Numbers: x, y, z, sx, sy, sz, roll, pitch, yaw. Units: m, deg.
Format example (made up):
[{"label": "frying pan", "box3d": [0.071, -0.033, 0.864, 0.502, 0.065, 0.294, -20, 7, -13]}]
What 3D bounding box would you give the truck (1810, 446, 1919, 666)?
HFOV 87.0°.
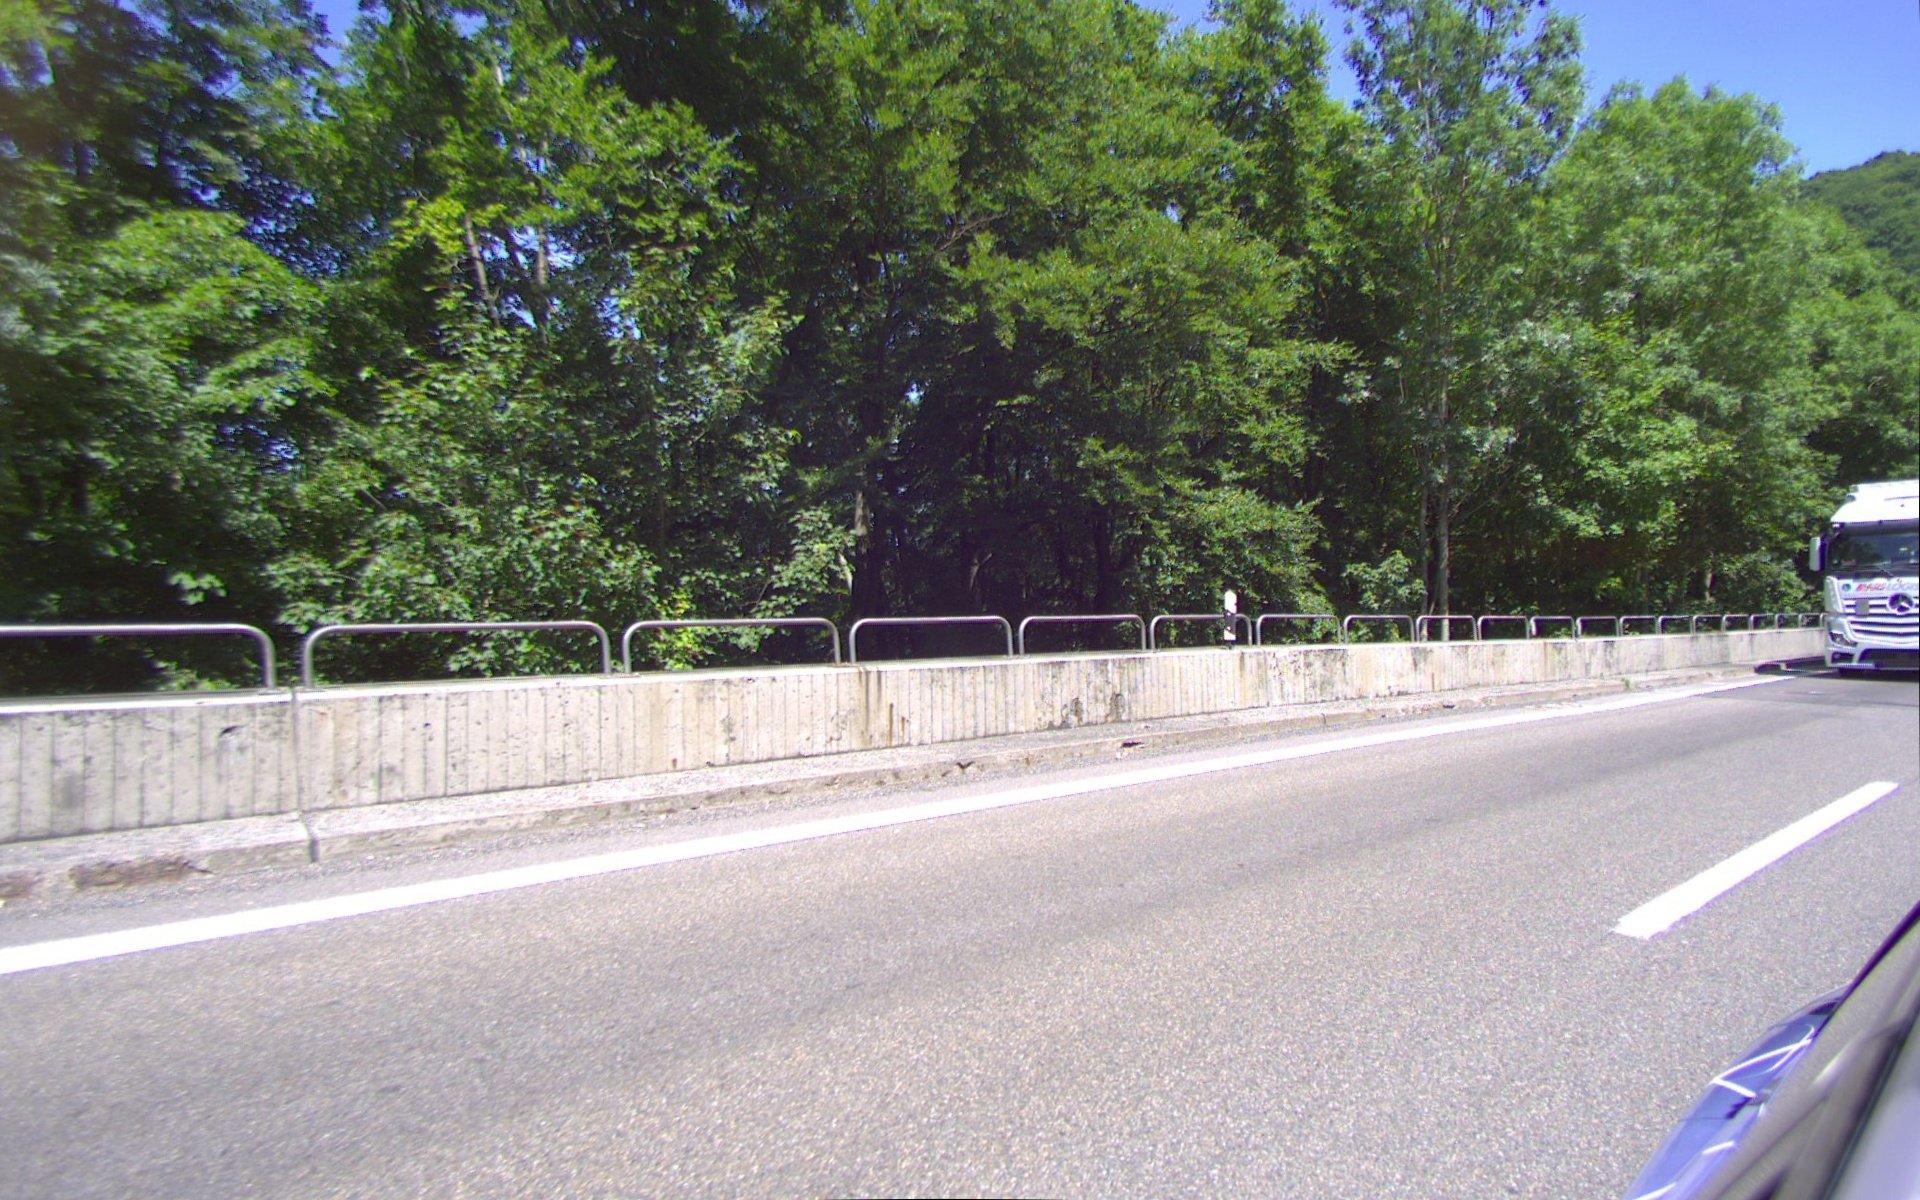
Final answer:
[{"label": "truck", "box3d": [24.782, -0.900, 24.161, 16.395, 4.183, 2.971, -1, 3, -36]}]
